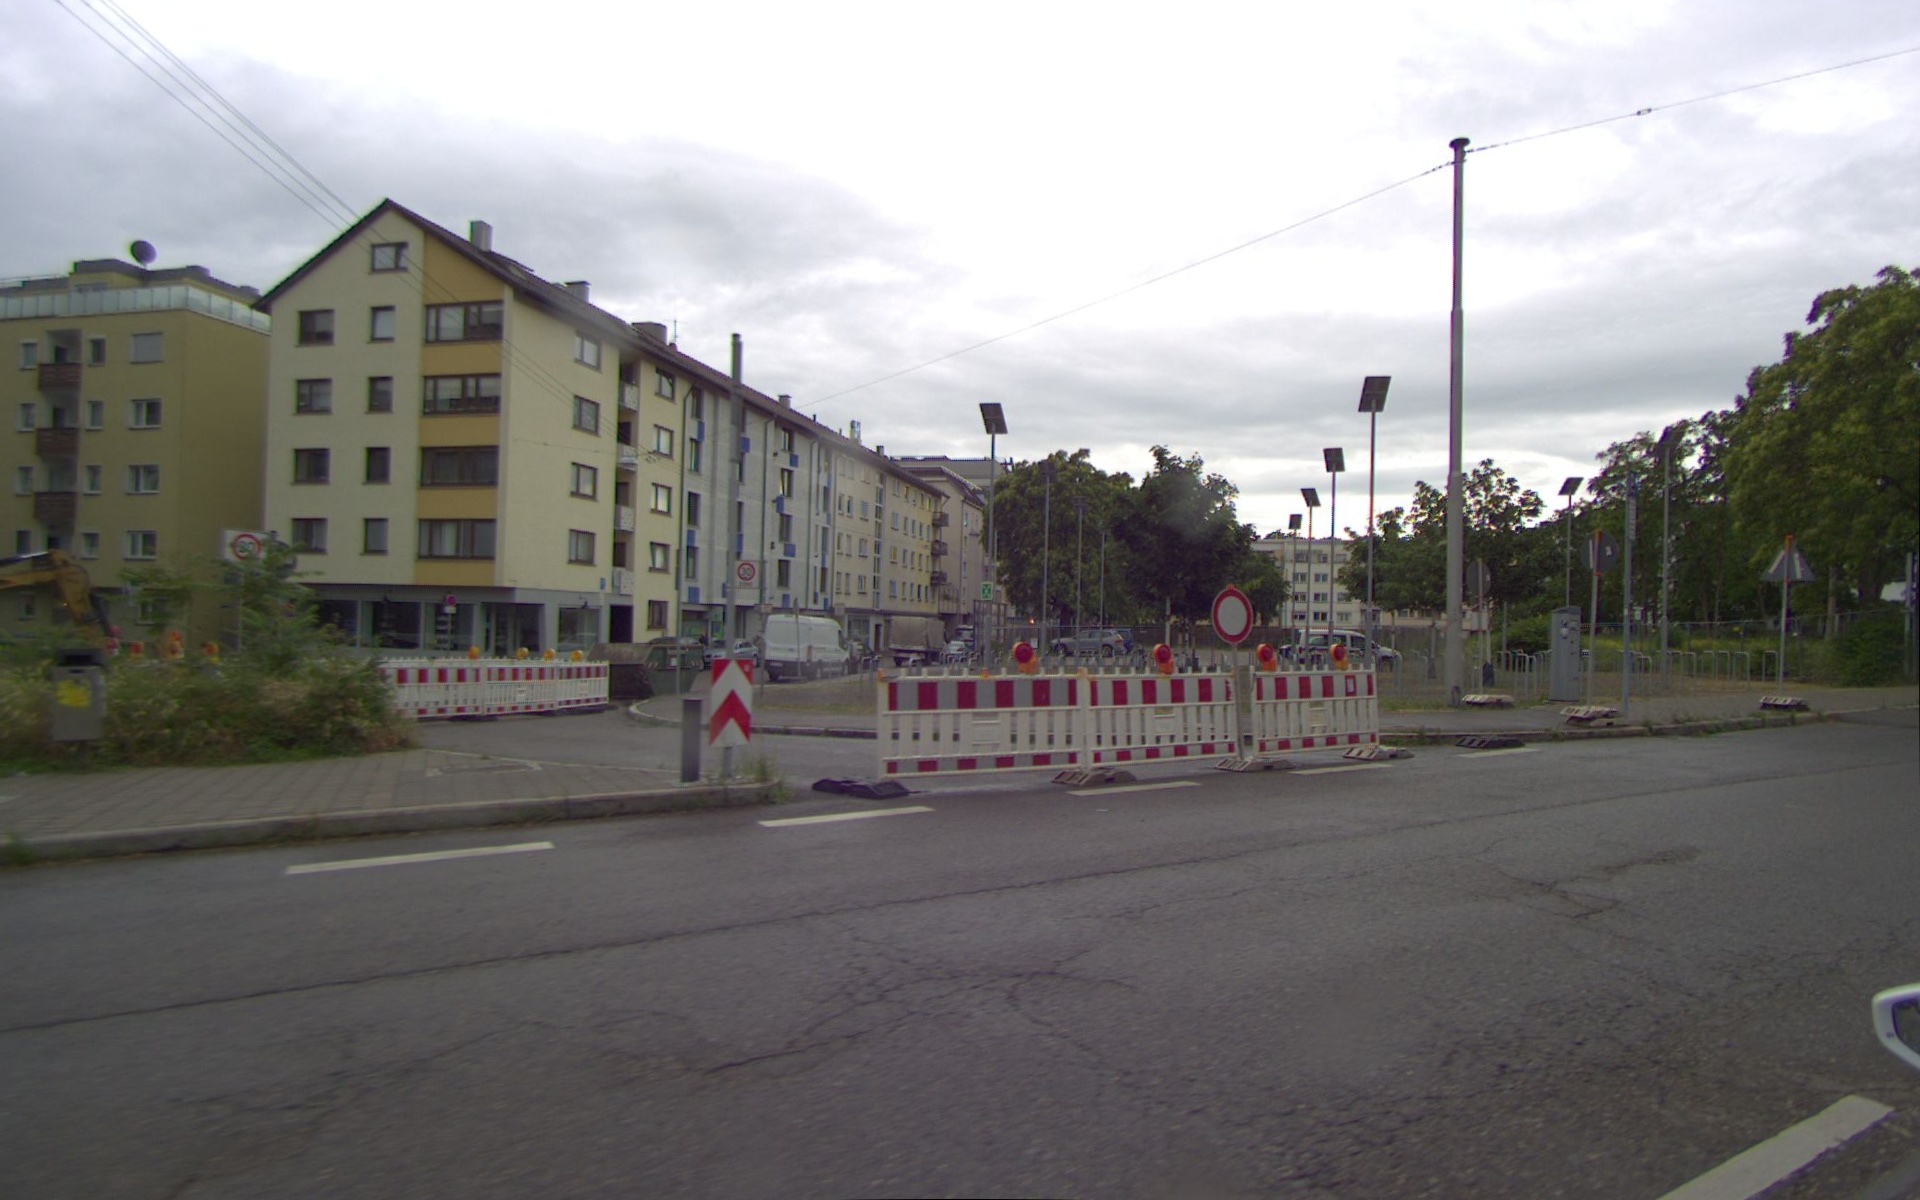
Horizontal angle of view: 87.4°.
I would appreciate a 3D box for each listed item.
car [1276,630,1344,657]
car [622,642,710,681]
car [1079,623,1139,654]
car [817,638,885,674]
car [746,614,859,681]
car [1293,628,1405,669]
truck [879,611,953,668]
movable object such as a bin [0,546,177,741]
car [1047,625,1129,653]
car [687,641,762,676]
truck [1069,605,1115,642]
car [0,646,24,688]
[{"bbox_3d":[22.267,2.759,64.035,3.919,1.647,1.801,0,-1,12],"label":"car"},{"bbox_3d":[-12.182,2.525,41.853,1.764,1.530,4.003,-2,-2,13],"label":"car"},{"bbox_3d":[10.281,2.626,69.196,3.919,2.079,1.801,0,-3,15],"label":"car"},{"bbox_3d":[-4.857,2.509,45.392,1.764,1.530,4.003,-2,-2,14],"label":"car"},{"bbox_3d":[-6.190,1.883,40.316,2.620,2.445,5.737,-2,-2,12],"label":"car"},{"bbox_3d":[18.049,2.240,46.822,4.597,1.858,2.001,0,-1,12],"label":"car"},{"bbox_3d":[-2.364,2.196,56.104,2.724,2.970,5.294,-2,-2,13],"label":"truck"},{"bbox_3d":[-13.233,0.553,12.610,1.639,2.492,5.288,0,-1,21],"label":"movable object such as a bin"},{"bbox_3d":[7.929,2.414,62.091,4.806,1.646,2.127,0,-3,15],"label":"car"},{"bbox_3d":[-10.991,2.696,47.149,1.764,1.530,4.003,-2,-2,14],"label":"car"},{"bbox_3d":[20.422,3.718,154.635,5.497,5.211,15.716,-2,-2,13],"label":"truck"},{"bbox_3d":[-37.086,2.507,37.141,3.919,1.530,1.801,-2,-1,15],"label":"car"}]
